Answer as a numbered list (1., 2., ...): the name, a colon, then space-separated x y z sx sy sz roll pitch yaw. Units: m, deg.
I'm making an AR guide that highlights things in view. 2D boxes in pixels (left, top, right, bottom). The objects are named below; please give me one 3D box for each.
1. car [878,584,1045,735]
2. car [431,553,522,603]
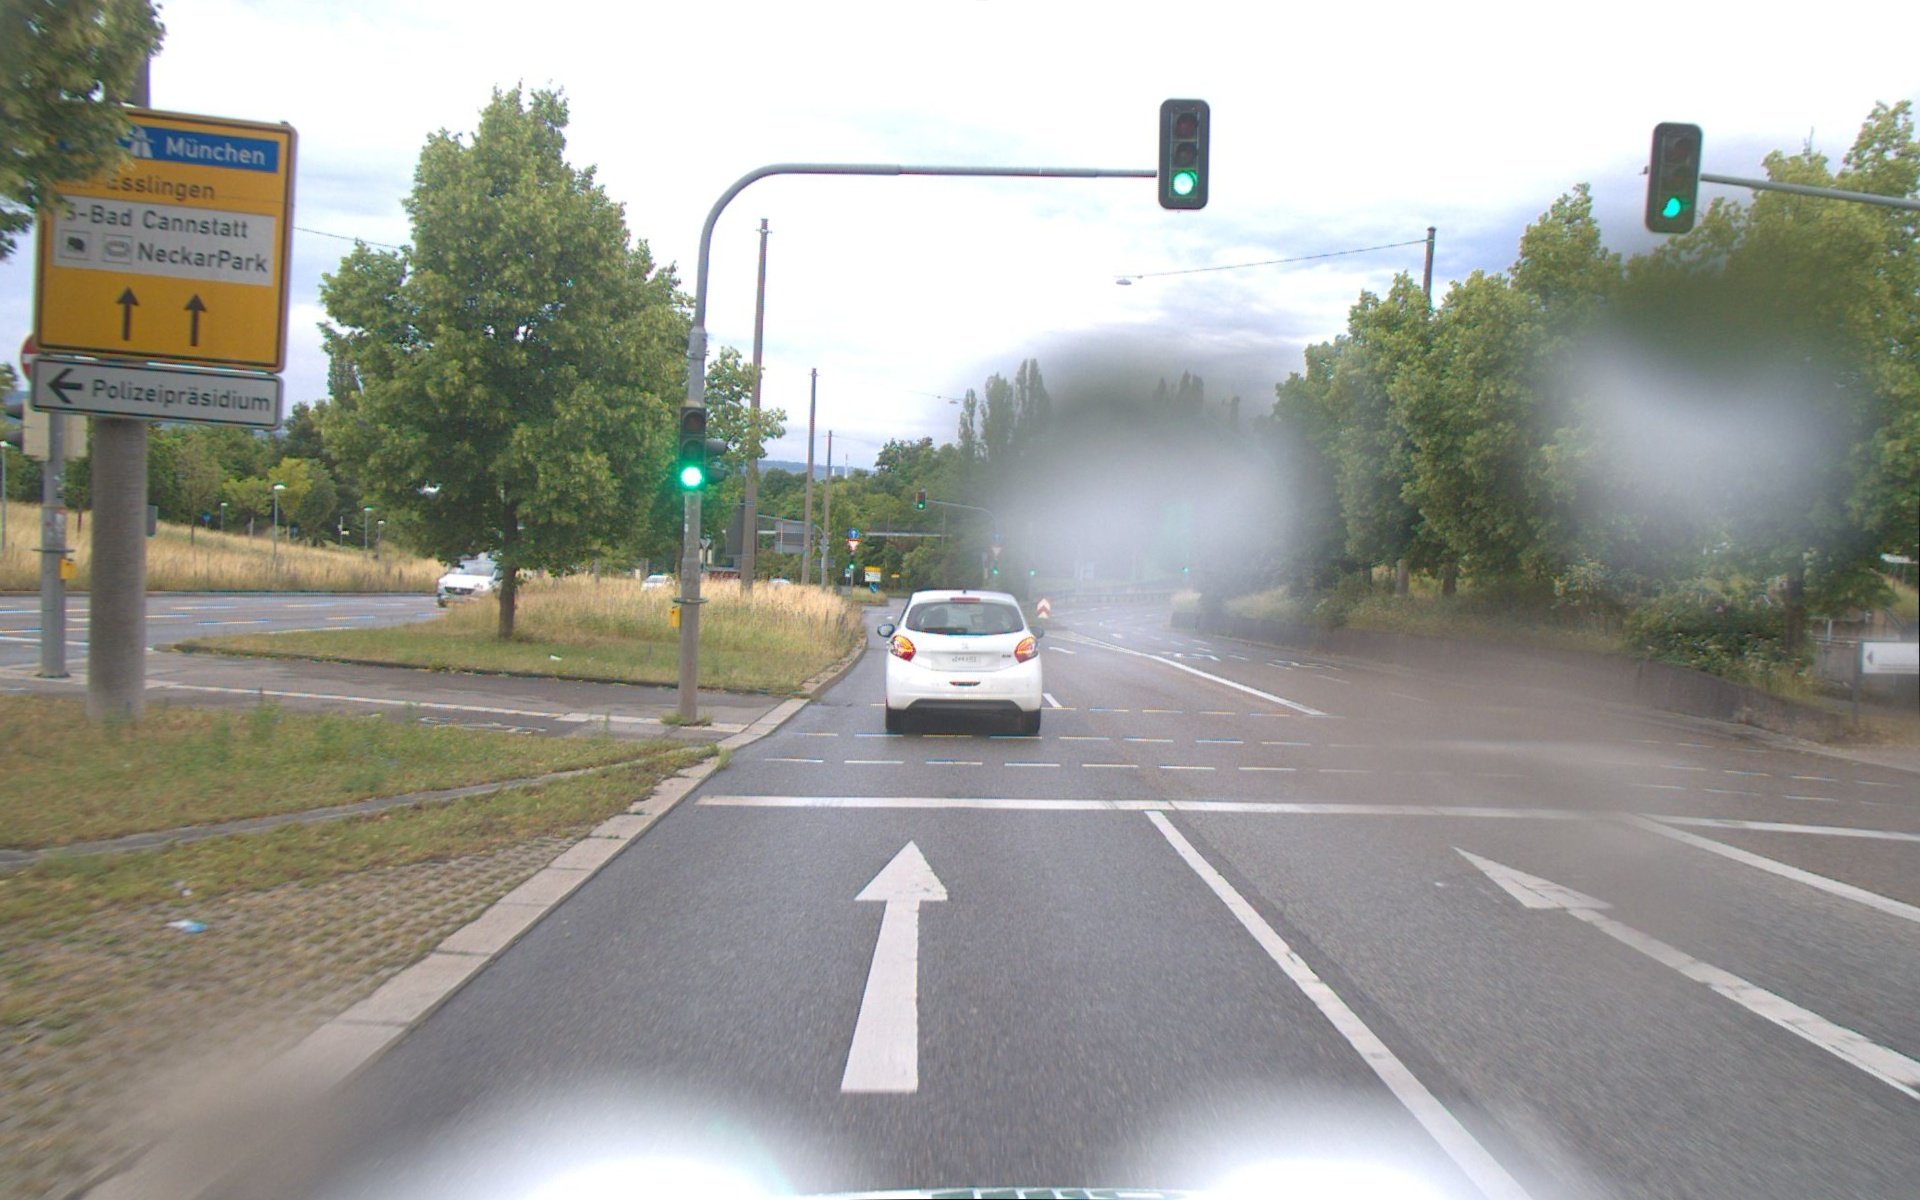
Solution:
1. car: -0.015 0.582 18.545 1.674 1.465 3.690 1 1 -1
2. car: -14.999 -0.666 51.486 1.506 1.413 3.928 3 0 2
